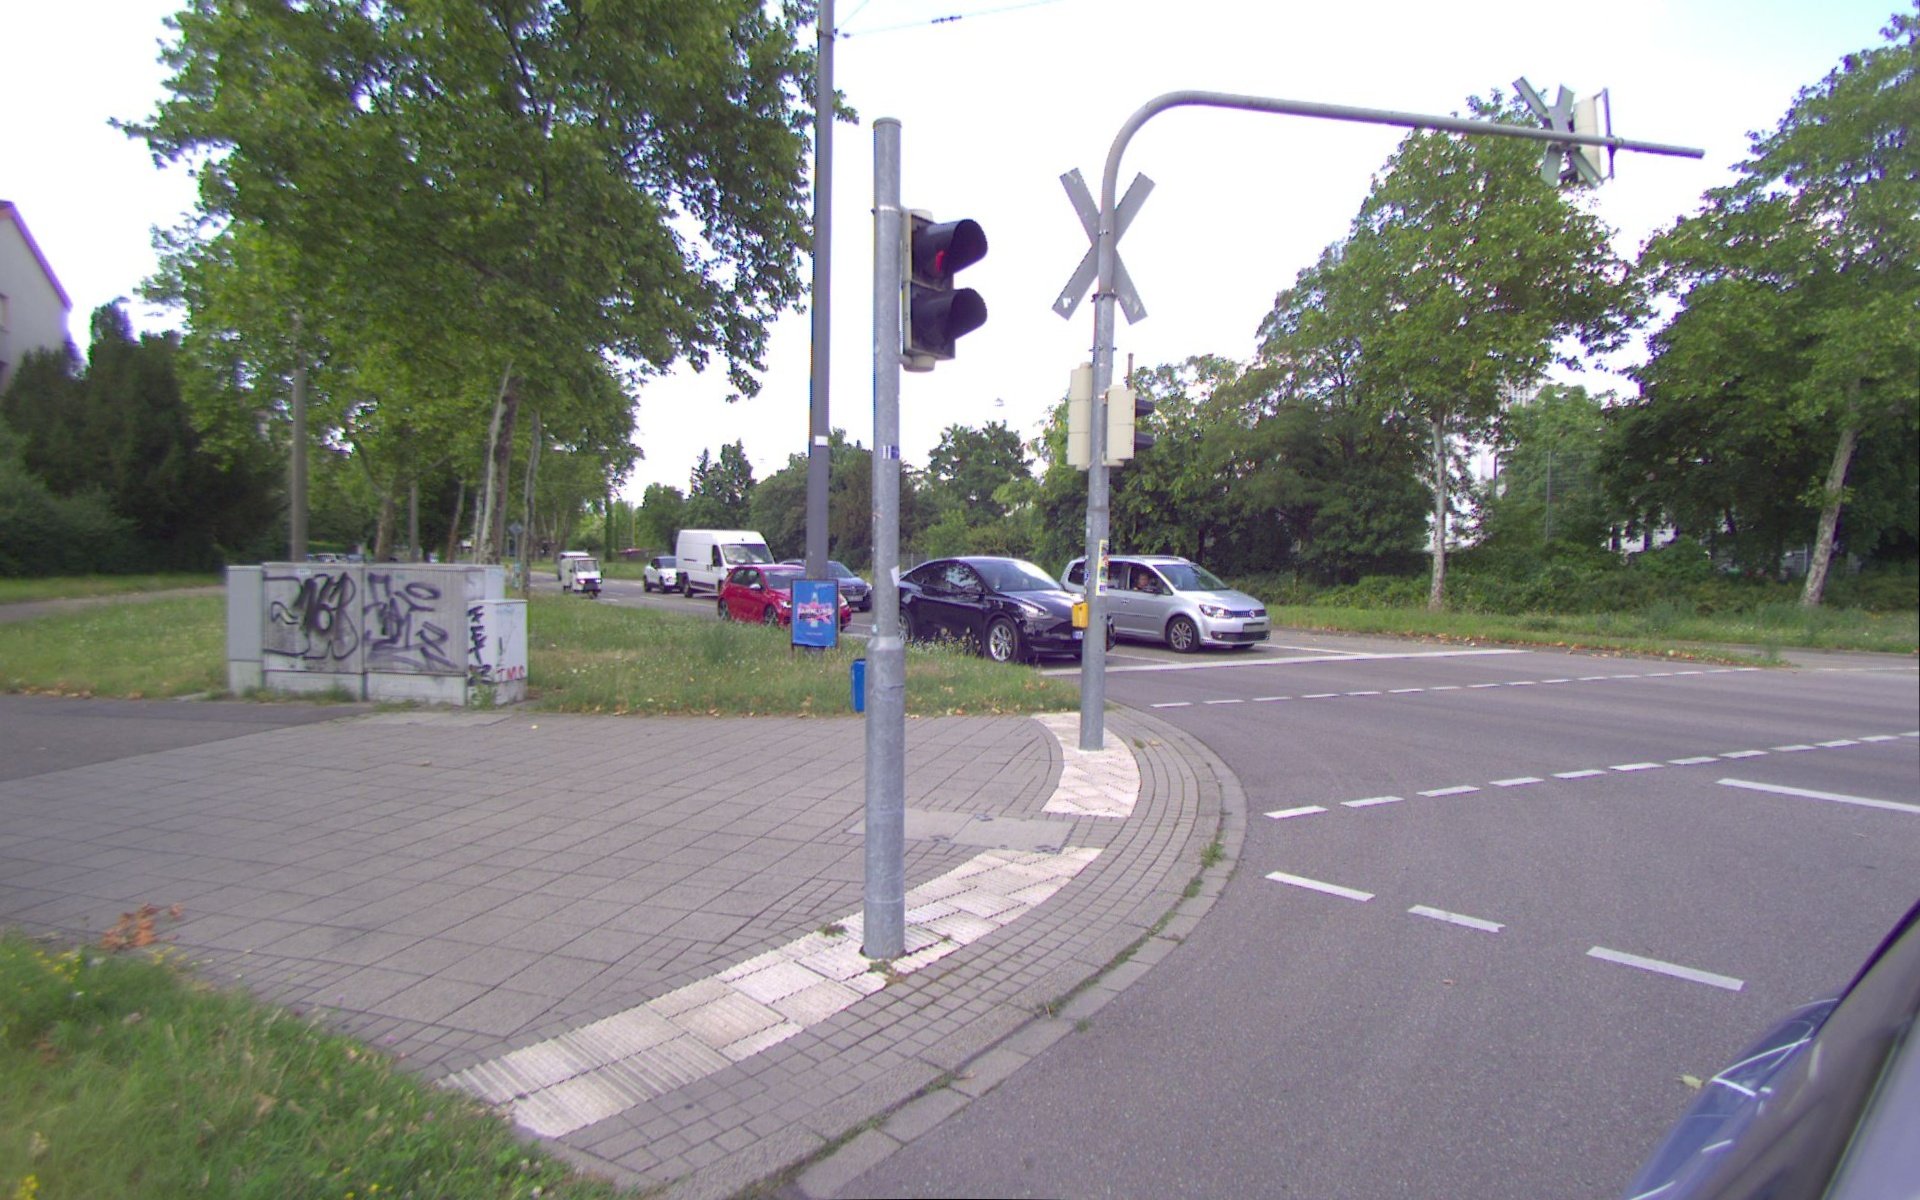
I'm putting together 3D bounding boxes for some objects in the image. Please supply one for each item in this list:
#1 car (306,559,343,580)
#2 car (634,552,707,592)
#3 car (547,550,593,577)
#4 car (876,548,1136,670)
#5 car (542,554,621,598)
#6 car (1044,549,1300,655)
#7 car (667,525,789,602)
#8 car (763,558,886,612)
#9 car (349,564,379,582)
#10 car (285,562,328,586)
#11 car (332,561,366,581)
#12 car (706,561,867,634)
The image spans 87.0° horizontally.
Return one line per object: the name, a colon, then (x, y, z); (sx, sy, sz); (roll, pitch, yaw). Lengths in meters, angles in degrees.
car: (-49.668, -2.369, 79.180); (1.739, 1.616, 3.664); (0, 0, -20)
car: (-12.613, -1.267, 43.973); (1.809, 1.637, 4.158); (-2, 3, -34)
car: (-24.839, -2.323, 64.406); (1.732, 1.667, 4.344); (-1, 3, -36)
car: (0.582, 0.004, 16.541); (1.895, 1.672, 4.582); (-2, 4, -34)
car: (-14.925, -0.992, 39.748); (1.769, 1.588, 4.502); (-3, 4, -36)
car: (3.706, -0.090, 18.468); (1.895, 1.672, 4.502); (-3, 4, -36)
car: (-8.588, -1.386, 36.962); (2.186, 2.560, 5.934); (-3, 4, -36)
car: (-4.035, -0.504, 29.685); (1.732, 1.391, 4.344); (-3, 4, -36)
car: (-55.440, -2.481, 94.162); (1.739, 1.616, 3.664); (0, 0, -20)
car: (-45.901, -1.796, 71.114); (1.739, 1.616, 3.664); (0, 0, -20)
car: (-51.231, -2.416, 84.944); (1.739, 1.616, 3.664); (0, 0, -20)
car: (-4.012, -0.138, 22.789); (1.769, 1.407, 4.502); (-3, 4, -36)
